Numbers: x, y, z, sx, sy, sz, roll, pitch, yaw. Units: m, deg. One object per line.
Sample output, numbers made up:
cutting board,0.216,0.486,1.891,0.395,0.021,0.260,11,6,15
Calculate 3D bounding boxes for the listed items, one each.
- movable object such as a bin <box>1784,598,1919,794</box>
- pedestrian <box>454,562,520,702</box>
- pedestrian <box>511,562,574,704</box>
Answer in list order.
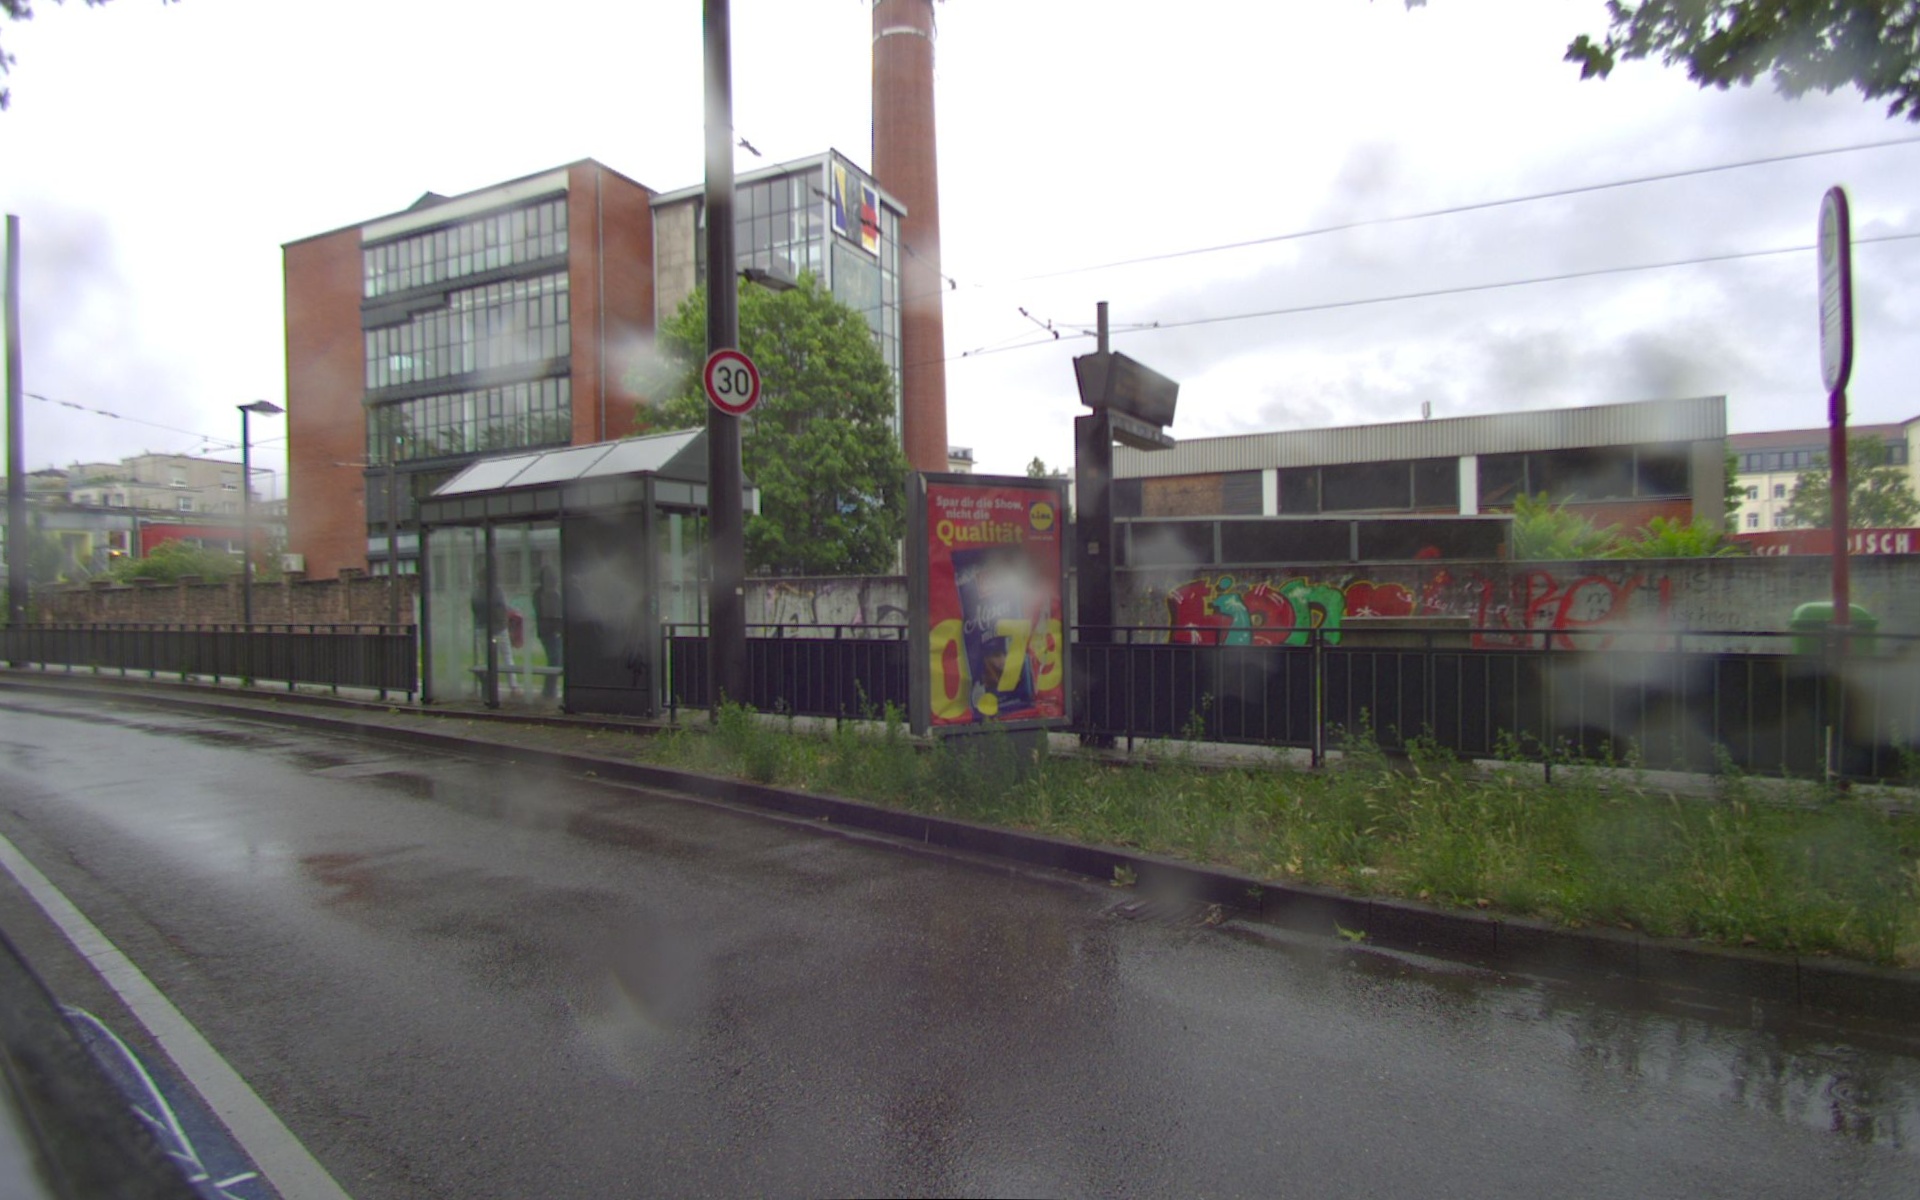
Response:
movable object such as a bin,5.269,0.548,5.961,0.528,1.098,0.414,-1,-2,25
pedestrian,-6.015,0.401,12.889,0.560,1.744,0.583,0,-2,-1
pedestrian,-5.243,0.410,12.735,0.560,1.744,0.583,0,-2,-3
